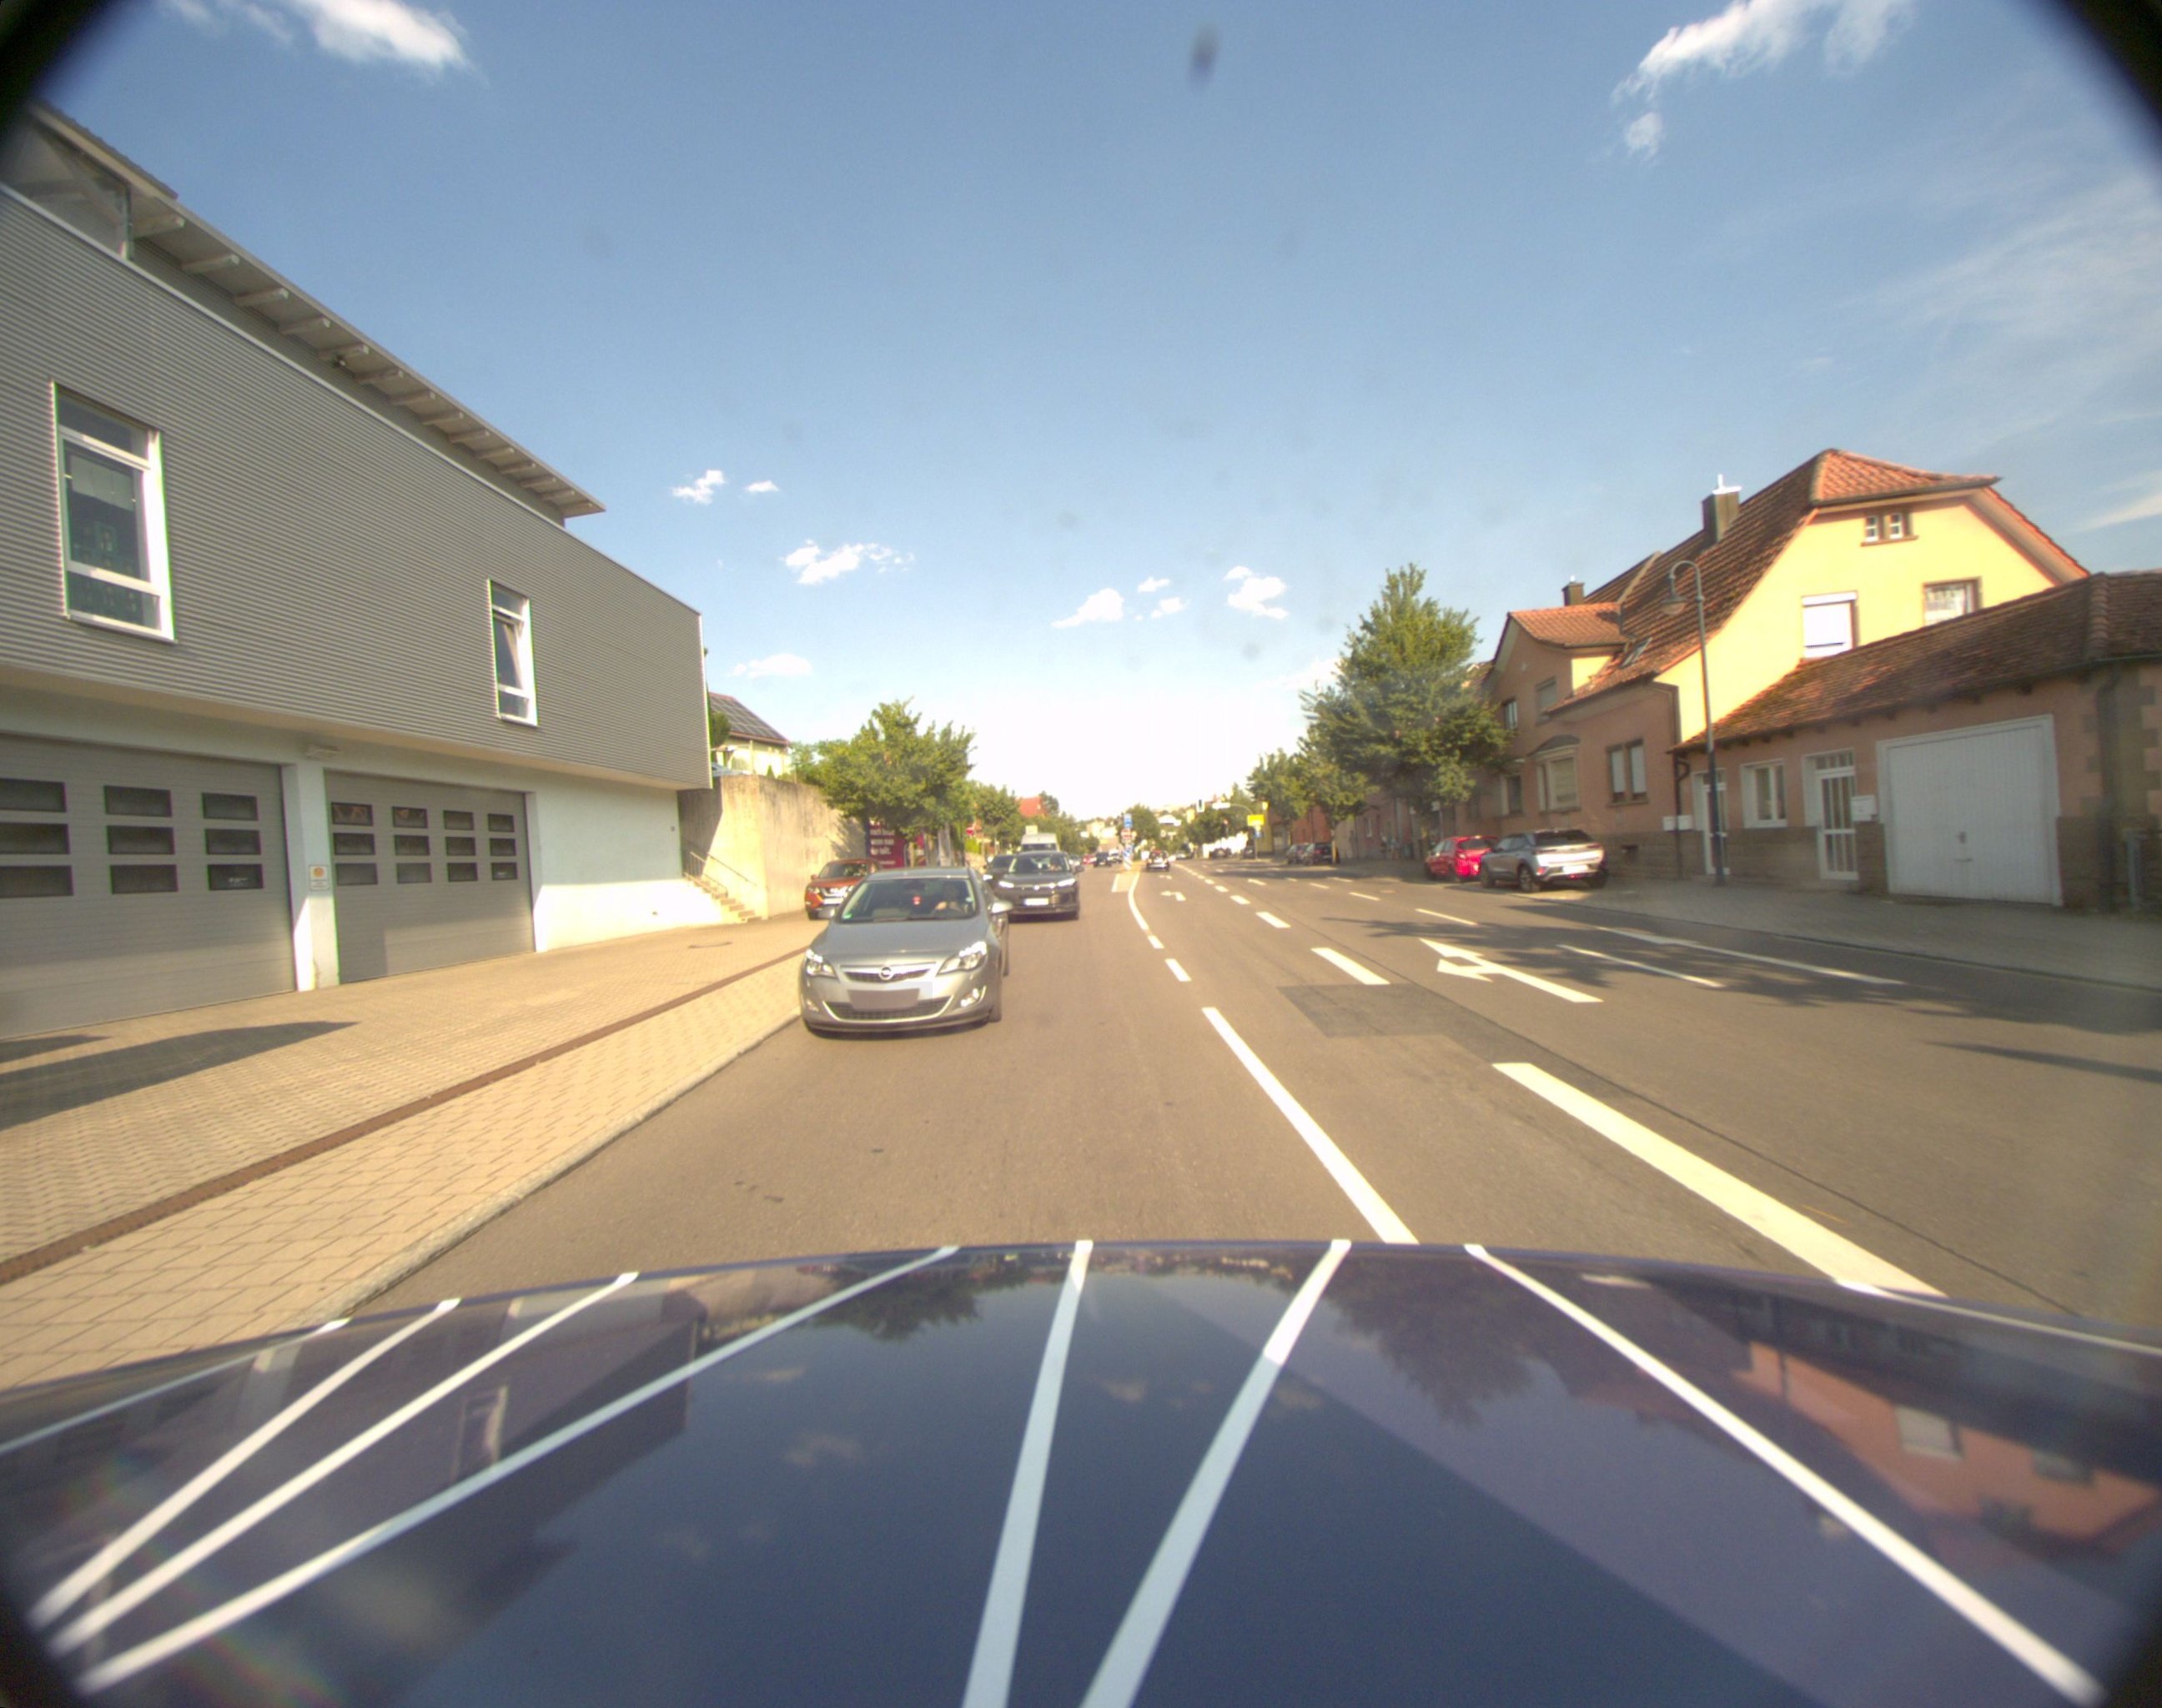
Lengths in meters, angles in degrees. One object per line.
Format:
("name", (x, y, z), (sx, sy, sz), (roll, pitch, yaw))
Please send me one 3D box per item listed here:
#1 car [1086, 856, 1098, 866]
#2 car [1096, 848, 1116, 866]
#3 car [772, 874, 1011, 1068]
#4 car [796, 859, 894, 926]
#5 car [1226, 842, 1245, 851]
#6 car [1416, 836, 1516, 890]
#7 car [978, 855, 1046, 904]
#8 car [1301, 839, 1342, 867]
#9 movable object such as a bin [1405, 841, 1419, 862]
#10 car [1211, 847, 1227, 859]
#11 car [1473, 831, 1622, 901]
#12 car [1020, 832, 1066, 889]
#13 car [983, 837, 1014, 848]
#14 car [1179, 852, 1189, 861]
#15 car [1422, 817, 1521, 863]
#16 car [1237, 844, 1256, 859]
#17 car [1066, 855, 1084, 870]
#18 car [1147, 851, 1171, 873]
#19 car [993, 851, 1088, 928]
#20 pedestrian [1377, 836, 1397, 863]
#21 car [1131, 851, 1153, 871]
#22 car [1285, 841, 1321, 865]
("car", (1.692, 1.026, 116.122), (1.529, 1.353, 2.794), (-3, 0, 7))
("car", (2.759, 0.286, 84.174), (1.815, 1.861, 4.002), (-3, 0, 6))
("car", (-1.686, 0.979, 8.097), (1.652, 1.414, 4.143), (-1, 0, -3))
("car", (-6.756, 1.028, 22.286), (1.840, 1.640, 4.535), (-3, 0, -6))
("car", (31.017, -1.449, 152.450), (3.437, 1.555, 1.583), (-3, 0, -35))
("car", (12.529, 0.263, 24.997), (1.669, 1.478, 4.002), (-6, 0, 9))
("car", (-2.449, 0.874, 27.969), (1.791, 1.596, 4.058), (-3, 0, 4))
("car", (15.250, -0.068, 48.305), (1.669, 1.523, 3.904), (-5, 0, 7))
("movable object such as a bin", (18.459, -0.162, 42.368), (0.552, 1.136, 0.530), (-3, 0, 6))
("car", (19.924, -0.186, 109.471), (1.859, 1.586, 4.462), (-3, 0, 6))
("car", (11.878, 0.292, 19.671), (1.759, 1.470, 4.003), (-6, -1, 9))
("car", (-1.904, 0.311, 39.741), (2.040, 2.642, 6.648), (-3, 0, -1))
("car", (-12.025, -1.665, 110.642), (4.072, 1.447, 1.681), (-3, 0, 16))
("car", (19.963, 0.454, 147.359), (1.689, 1.602, 4.414), (-3, 0, 4))
("car", (19.109, -0.682, 37.349), (3.829, 1.870, 1.779), (-5, 0, 6))
("car", (18.304, -0.304, 83.989), (1.595, 1.430, 3.777), (-7, -1, 7))
("car", (-0.599, 0.853, 74.525), (1.515, 1.353, 2.956), (-3, 0, 4))
("car", (5.580, 0.555, 54.613), (1.535, 1.453, 3.507), (-3, 0, 5))
("car", (-0.864, 0.780, 18.530), (1.767, 1.582, 4.058), (-3, 0, 4))
("pedestrian", (18.339, -0.266, 45.563), (0.724, 1.598, 0.776), (-3, 1, -34))
("car", (4.868, 0.526, 60.410), (1.592, 1.419, 3.579), (-2, 0, 6))
("car", (15.816, -0.069, 54.342), (1.515, 1.501, 3.886), (-5, 0, 3))
